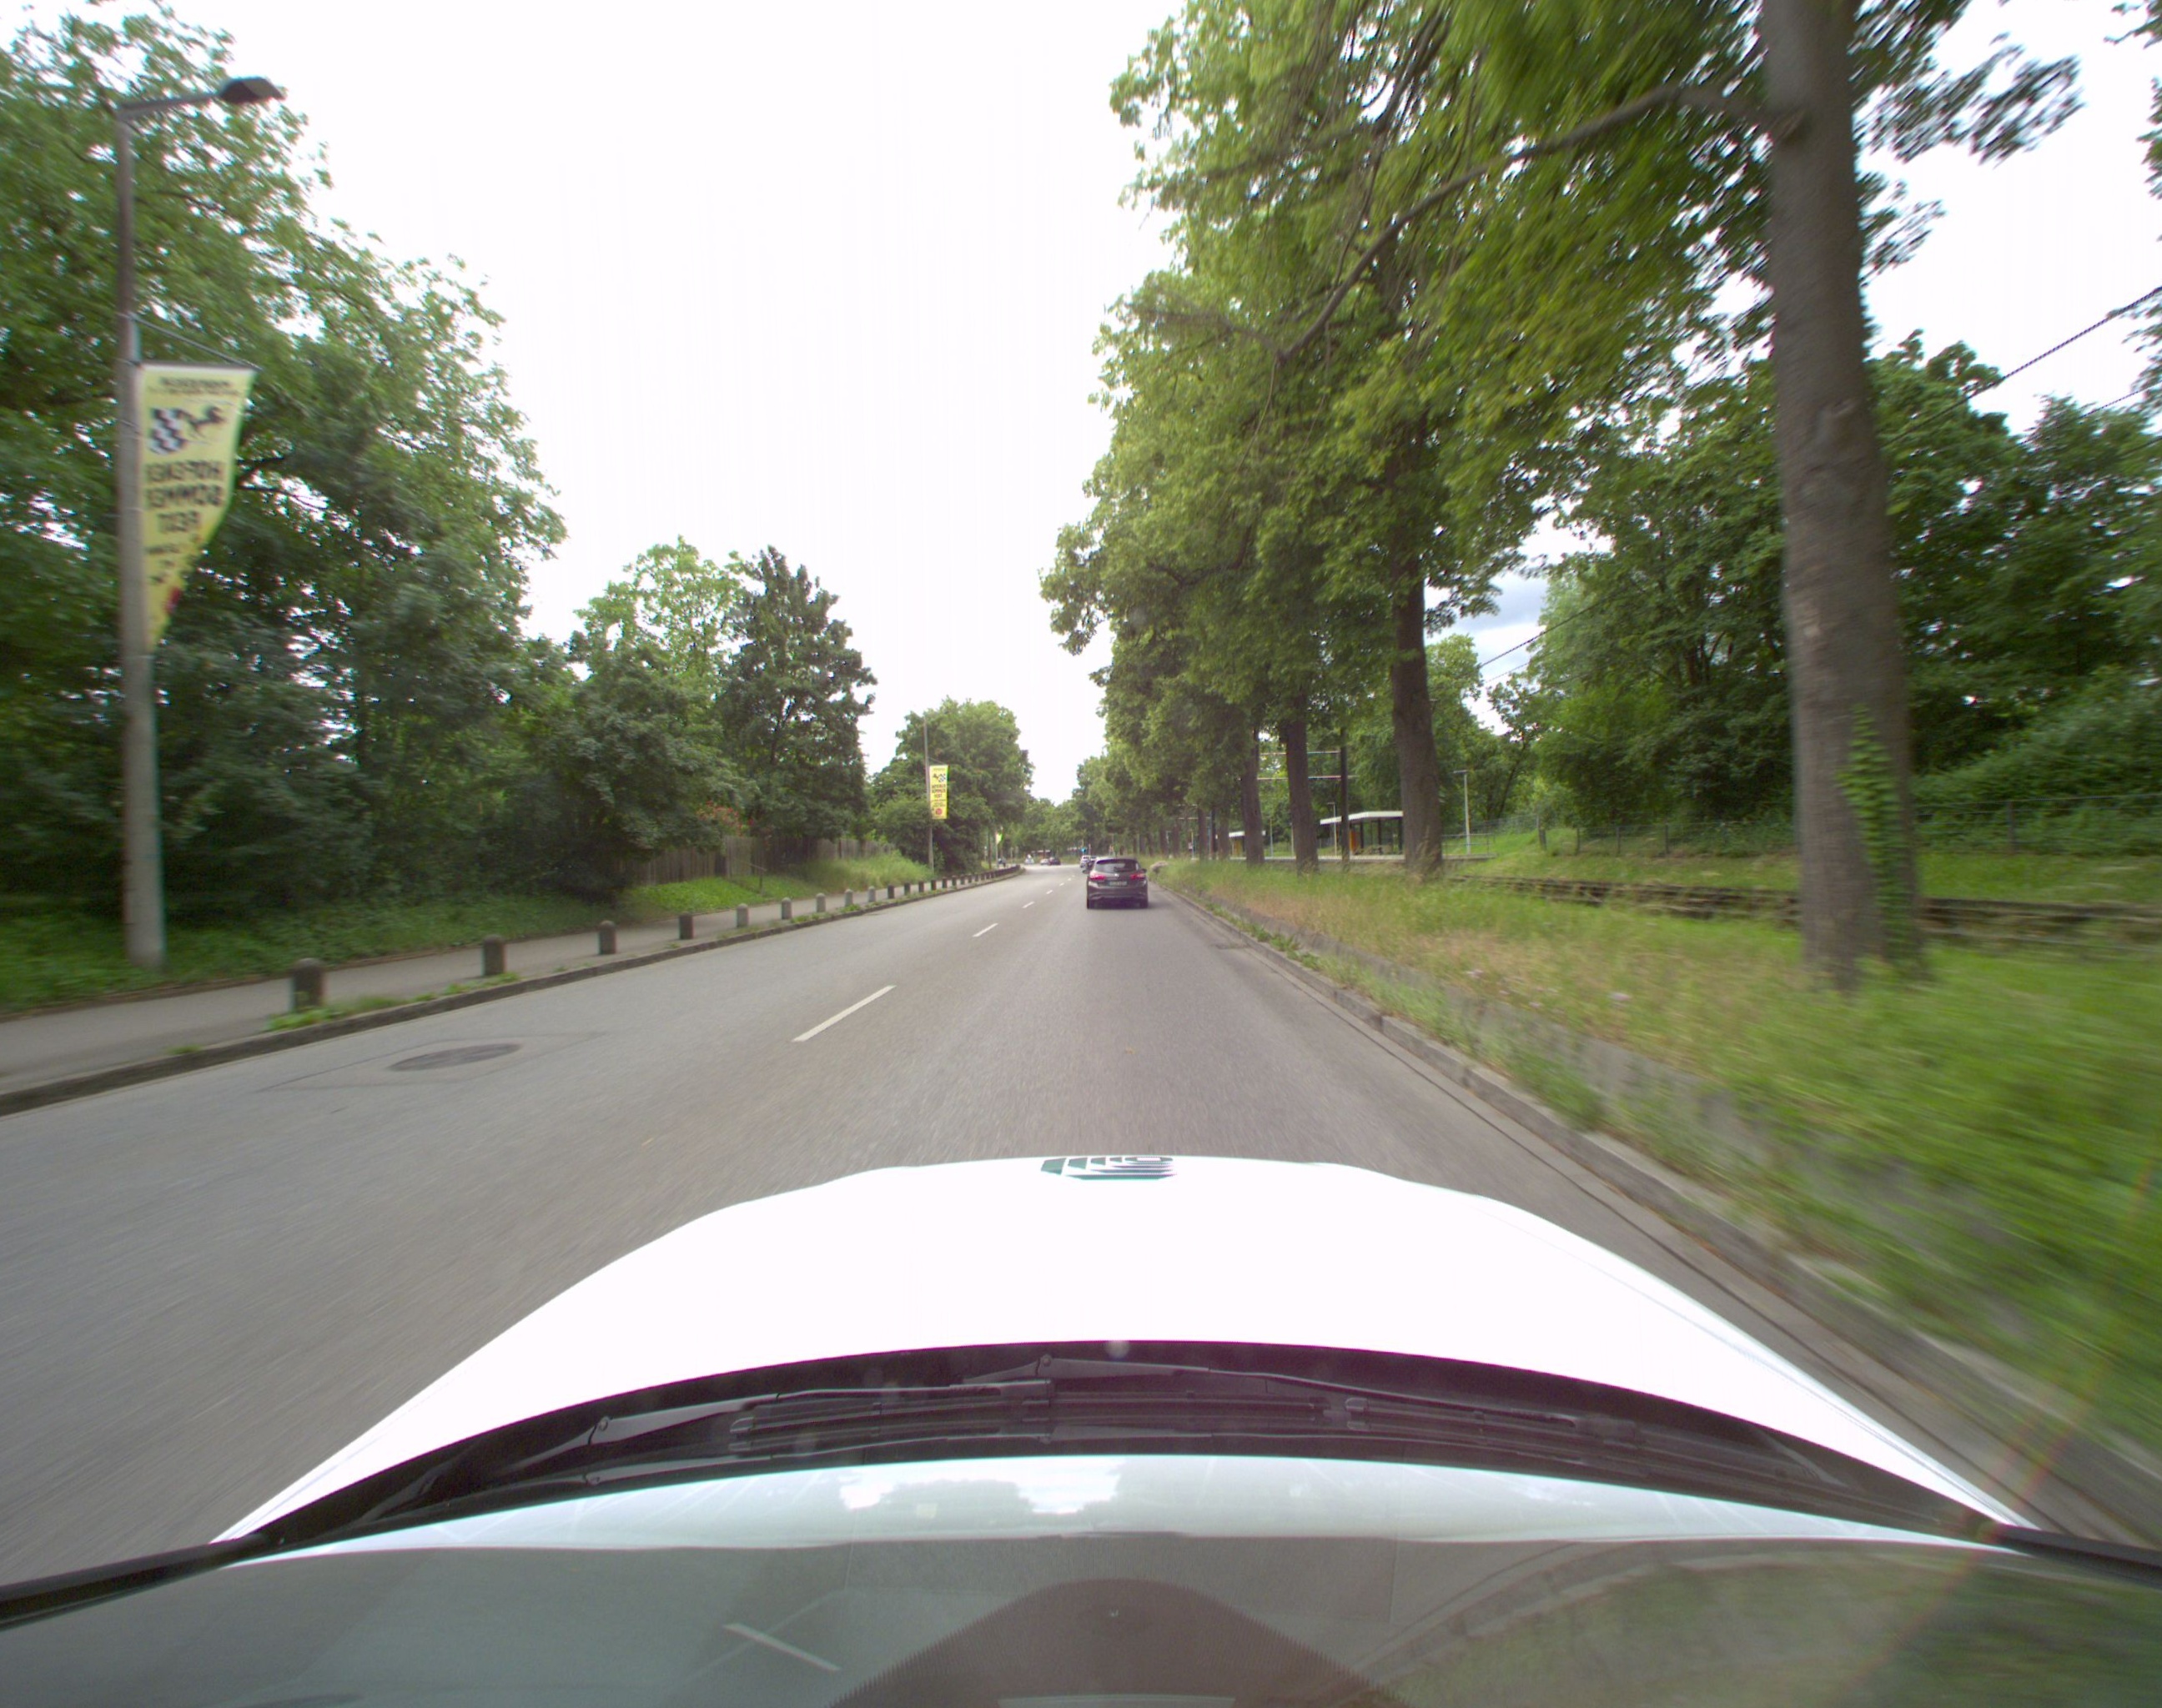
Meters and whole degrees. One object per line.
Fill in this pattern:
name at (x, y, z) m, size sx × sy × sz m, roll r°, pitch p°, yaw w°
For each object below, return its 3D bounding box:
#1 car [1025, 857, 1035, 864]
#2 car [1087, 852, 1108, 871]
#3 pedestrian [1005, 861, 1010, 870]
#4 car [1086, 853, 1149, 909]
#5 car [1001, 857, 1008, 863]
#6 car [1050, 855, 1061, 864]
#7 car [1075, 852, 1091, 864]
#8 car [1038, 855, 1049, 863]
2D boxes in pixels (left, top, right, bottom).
car at (-11.196, 1.333, 177.684) m, size 1.563 × 1.441 × 3.536 m, roll -1°, pitch 0°, yaw -13°
car at (1.456, 0.647, 71.152) m, size 1.724 × 1.537 × 3.552 m, roll -1°, pitch 0°, yaw 1°
pedestrian at (-10.818, 1.706, 120.104) m, size 0.720 × 1.368 × 0.653 m, roll -1°, pitch 0°, yaw -7°
car at (1.042, 0.745, 24.360) m, size 1.724 × 1.537 × 3.552 m, roll -1°, pitch 0°, yaw 1°
car at (-19.690, 1.576, 209.935) m, size 1.560 × 1.441 × 3.541 m, roll -1°, pitch 0°, yaw -8°
car at (-4.392, 0.884, 139.765) m, size 1.561 × 1.441 × 3.540 m, roll -1°, pitch 0°, yaw -9°
car at (0.228, 0.435, 100.981) m, size 1.560 × 1.441 × 3.541 m, roll -1°, pitch 0°, yaw -8°
car at (-7.128, 0.972, 154.848) m, size 1.561 × 1.441 × 3.540 m, roll -1°, pitch 0°, yaw -9°
